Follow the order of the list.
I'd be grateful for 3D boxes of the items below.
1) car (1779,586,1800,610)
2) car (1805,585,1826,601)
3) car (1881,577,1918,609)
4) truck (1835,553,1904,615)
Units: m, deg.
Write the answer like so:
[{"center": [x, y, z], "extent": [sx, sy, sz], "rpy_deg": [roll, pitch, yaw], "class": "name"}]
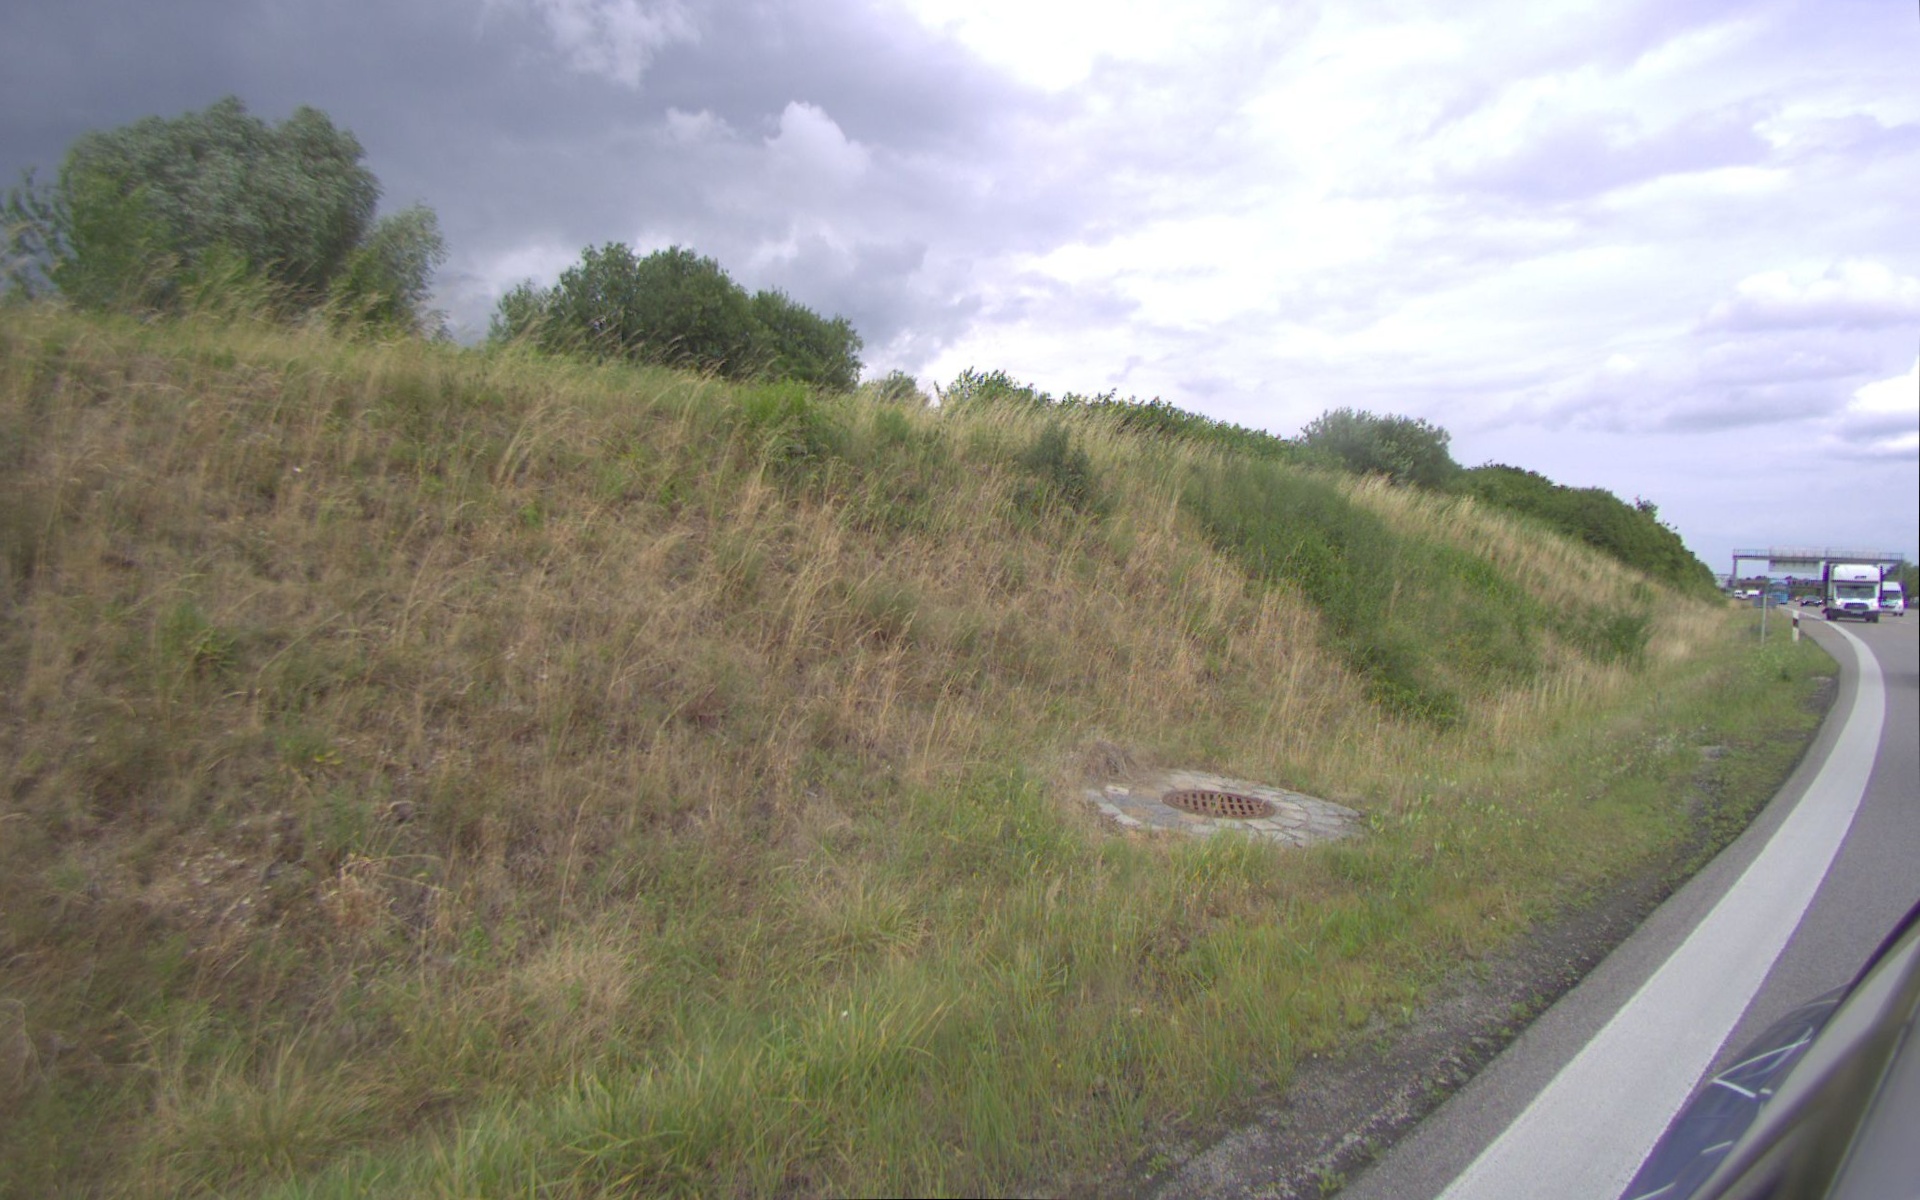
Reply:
[{"center": [136.010, -0.373, 165.997], "extent": [2.493, 3.757, 7.595], "rpy_deg": [2, 2, 38], "class": "car"}, {"center": [113.418, -0.970, 134.182], "extent": [1.990, 2.038, 3.944], "rpy_deg": [2, 2, 39], "class": "car"}, {"center": [74.404, -0.580, 80.192], "extent": [1.992, 2.425, 3.941], "rpy_deg": [0, 1, 41], "class": "car"}, {"center": [51.447, -0.900, 57.367], "extent": [2.438, 3.275, 7.090], "rpy_deg": [2, 2, 39], "class": "truck"}]
